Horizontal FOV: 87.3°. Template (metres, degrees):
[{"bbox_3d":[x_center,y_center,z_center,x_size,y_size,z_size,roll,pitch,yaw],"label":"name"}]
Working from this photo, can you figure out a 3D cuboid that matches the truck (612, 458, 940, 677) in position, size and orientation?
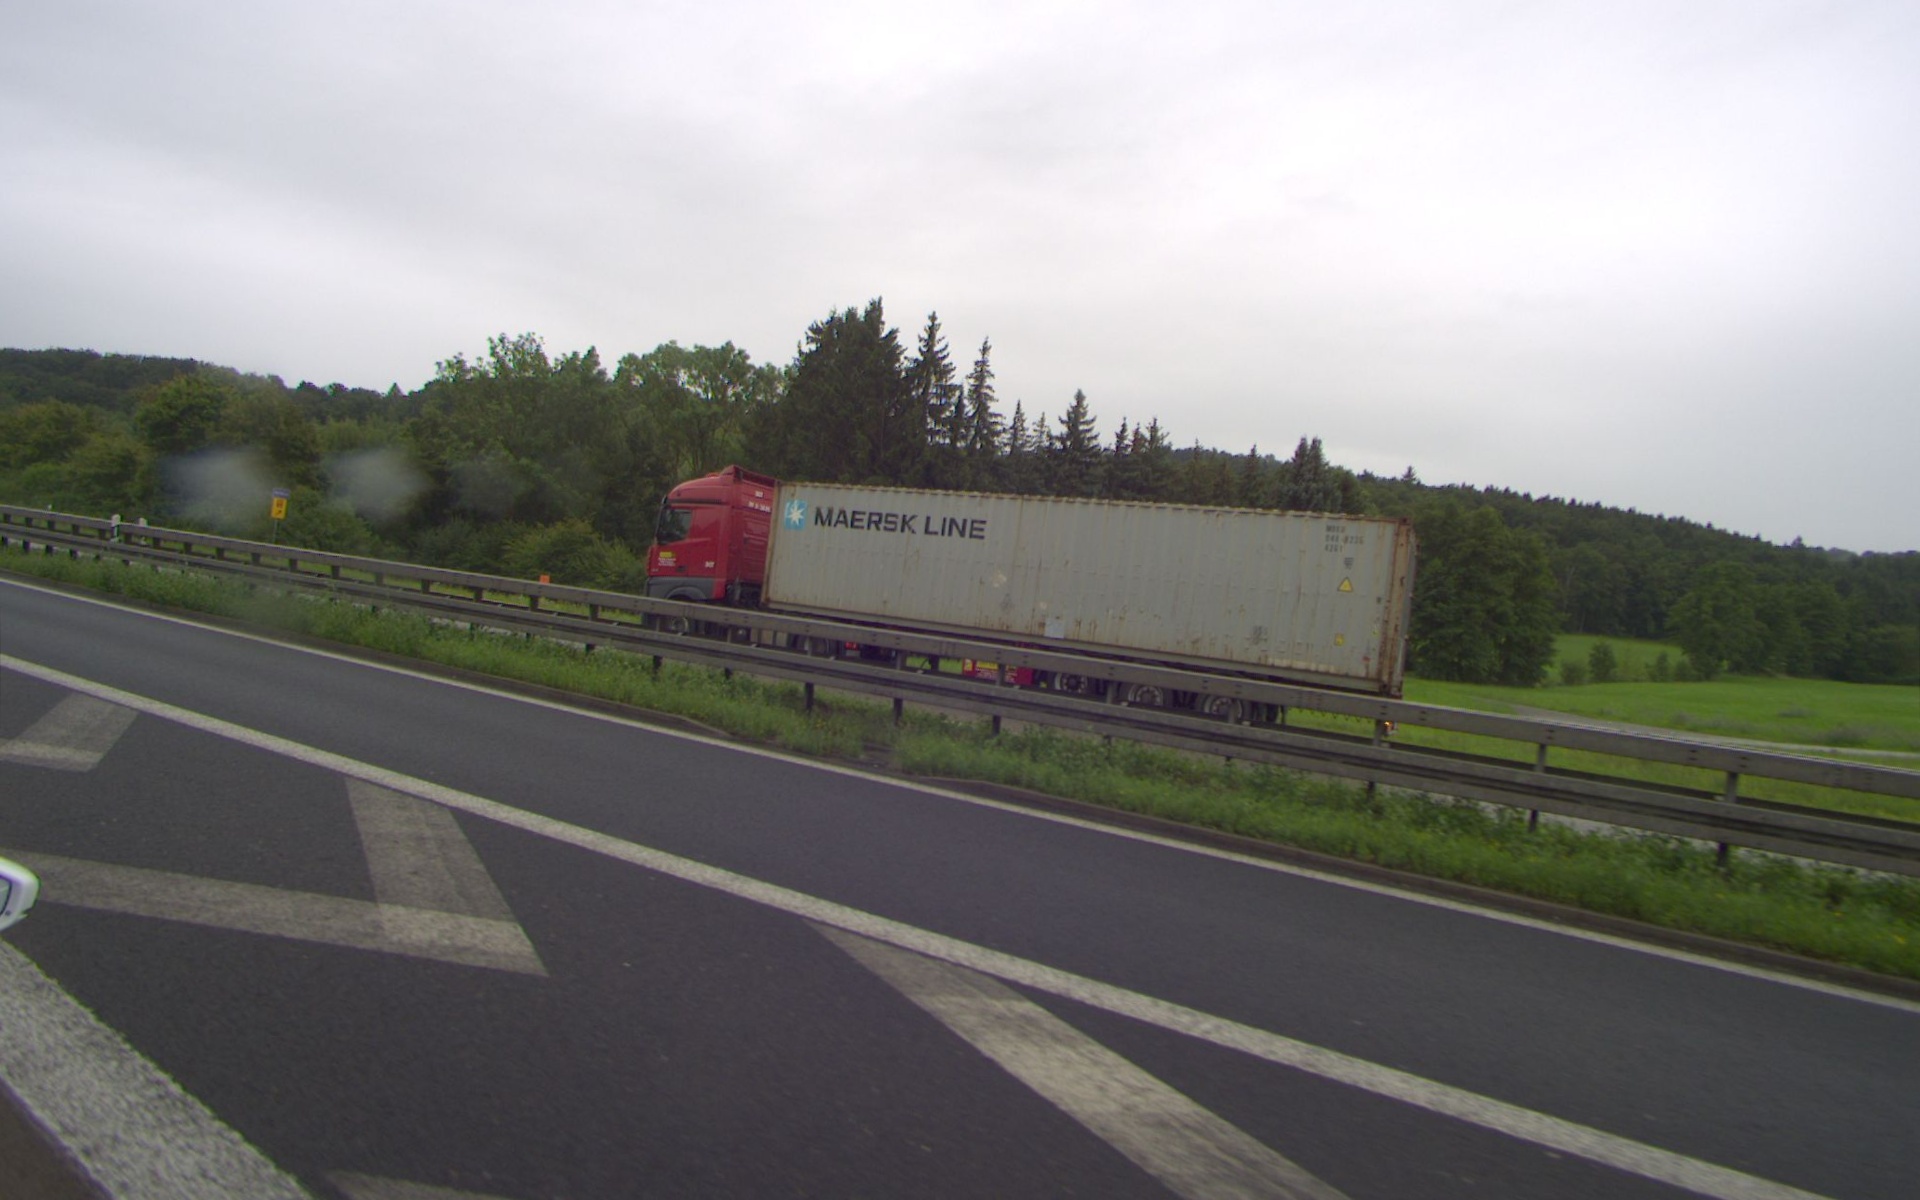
[{"bbox_3d":[-4.018,-0.742,21.735,6.280,3.930,2.623,6,-1,28],"label":"truck"}]

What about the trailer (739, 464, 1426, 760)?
[{"bbox_3d":[1.708,-0.095,18.796,12.273,3.940,2.611,6,-1,28],"label":"trailer"}]
